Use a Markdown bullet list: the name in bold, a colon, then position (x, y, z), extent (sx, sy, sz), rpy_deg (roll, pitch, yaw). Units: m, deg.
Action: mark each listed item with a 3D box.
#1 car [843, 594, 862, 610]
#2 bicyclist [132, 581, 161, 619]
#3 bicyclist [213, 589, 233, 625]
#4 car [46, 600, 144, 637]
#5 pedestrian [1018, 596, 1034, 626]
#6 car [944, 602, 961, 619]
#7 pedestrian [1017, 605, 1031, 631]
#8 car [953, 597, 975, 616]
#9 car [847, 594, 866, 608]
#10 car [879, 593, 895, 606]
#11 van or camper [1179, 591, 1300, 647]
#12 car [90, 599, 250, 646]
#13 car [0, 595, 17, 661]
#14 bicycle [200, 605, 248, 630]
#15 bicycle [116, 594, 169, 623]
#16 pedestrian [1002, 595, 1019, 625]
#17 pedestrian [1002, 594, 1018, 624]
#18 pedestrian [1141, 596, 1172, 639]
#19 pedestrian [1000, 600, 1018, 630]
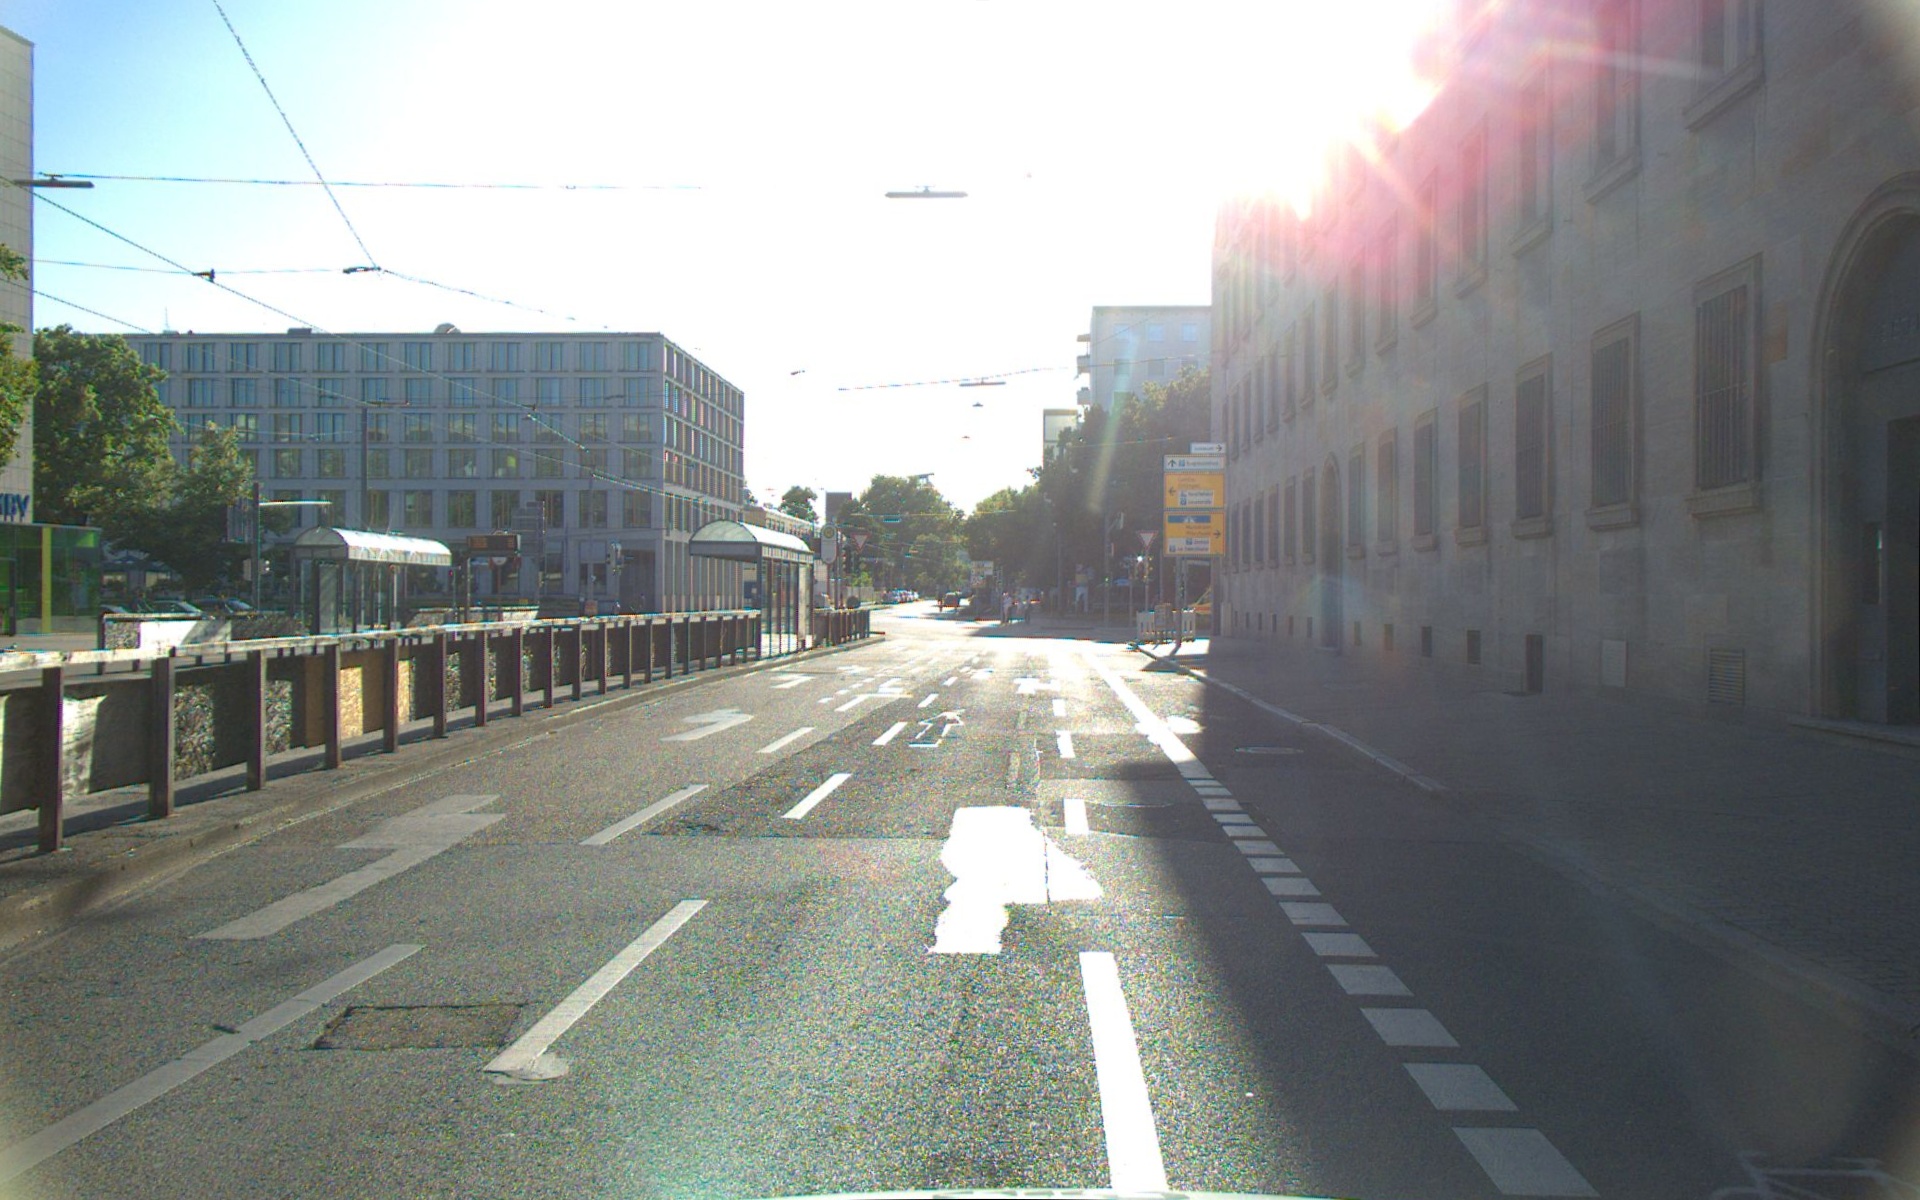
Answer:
- **car**: position (-12.339, 0.201, 190.159), extent (1.781, 1.742, 3.807), rpy_deg (0, 0, 3)
- **bicyclist**: position (-37.230, 0.010, 75.681), extent (0.871, 1.724, 0.845), rpy_deg (0, 0, 8)
- **bicyclist**: position (-33.497, 0.324, 75.201), extent (0.605, 1.610, 0.594), rpy_deg (0, 0, 14)
- **car**: position (-37.569, 0.801, 71.859), extent (3.457, 1.532, 1.523), rpy_deg (0, 0, 1)
- **pedestrian**: position (4.072, 0.684, 101.777), extent (0.833, 1.815, 0.777), rpy_deg (0, 0, -13)
- **car**: position (-0.809, 1.146, 181.217), extent (1.649, 1.768, 3.510), rpy_deg (1, -1, 3)
- **pedestrian**: position (3.975, 1.096, 102.546), extent (0.749, 1.586, 0.586), rpy_deg (0, 0, -13)
- **car**: position (0.338, 0.548, 140.450), extent (1.649, 1.527, 3.510), rpy_deg (1, -1, 3)
- **car**: position (-12.587, 0.111, 201.092), extent (1.781, 1.742, 3.807), rpy_deg (0, 0, 3)
- **car**: position (-9.383, -0.058, 213.022), extent (1.781, 1.742, 3.807), rpy_deg (0, 0, 3)
- **van or camper**: position (15.709, 1.068, 93.429), extent (6.565, 2.912, 2.913), rpy_deg (1, -1, 7)
- **car**: position (-25.006, 0.724, 52.384), extent (4.453, 1.374, 1.574), rpy_deg (2, -1, -30)
- **car**: position (-25.354, 0.639, 39.914), extent (4.453, 1.597, 1.574), rpy_deg (2, -1, -30)
- **bicycle**: position (-33.456, 0.791, 75.183), extent (1.882, 1.142, 0.791), rpy_deg (0, 0, 14)
- **bicycle**: position (-37.376, 0.394, 75.645), extent (2.004, 1.311, 0.887), rpy_deg (0, 0, 8)
- **pedestrian**: position (3.117, 0.625, 102.458), extent (0.833, 1.815, 0.777), rpy_deg (0, 0, -13)
- **pedestrian**: position (3.096, 0.556, 103.279), extent (0.833, 1.815, 0.777), rpy_deg (0, 0, -13)
- **pedestrian**: position (8.047, 0.702, 67.805), extent (1.020, 1.751, 1.033), rpy_deg (0, 0, -8)
- **pedestrian**: position (2.993, 0.923, 100.641), extent (0.949, 1.815, 0.777), rpy_deg (0, 0, -13)
